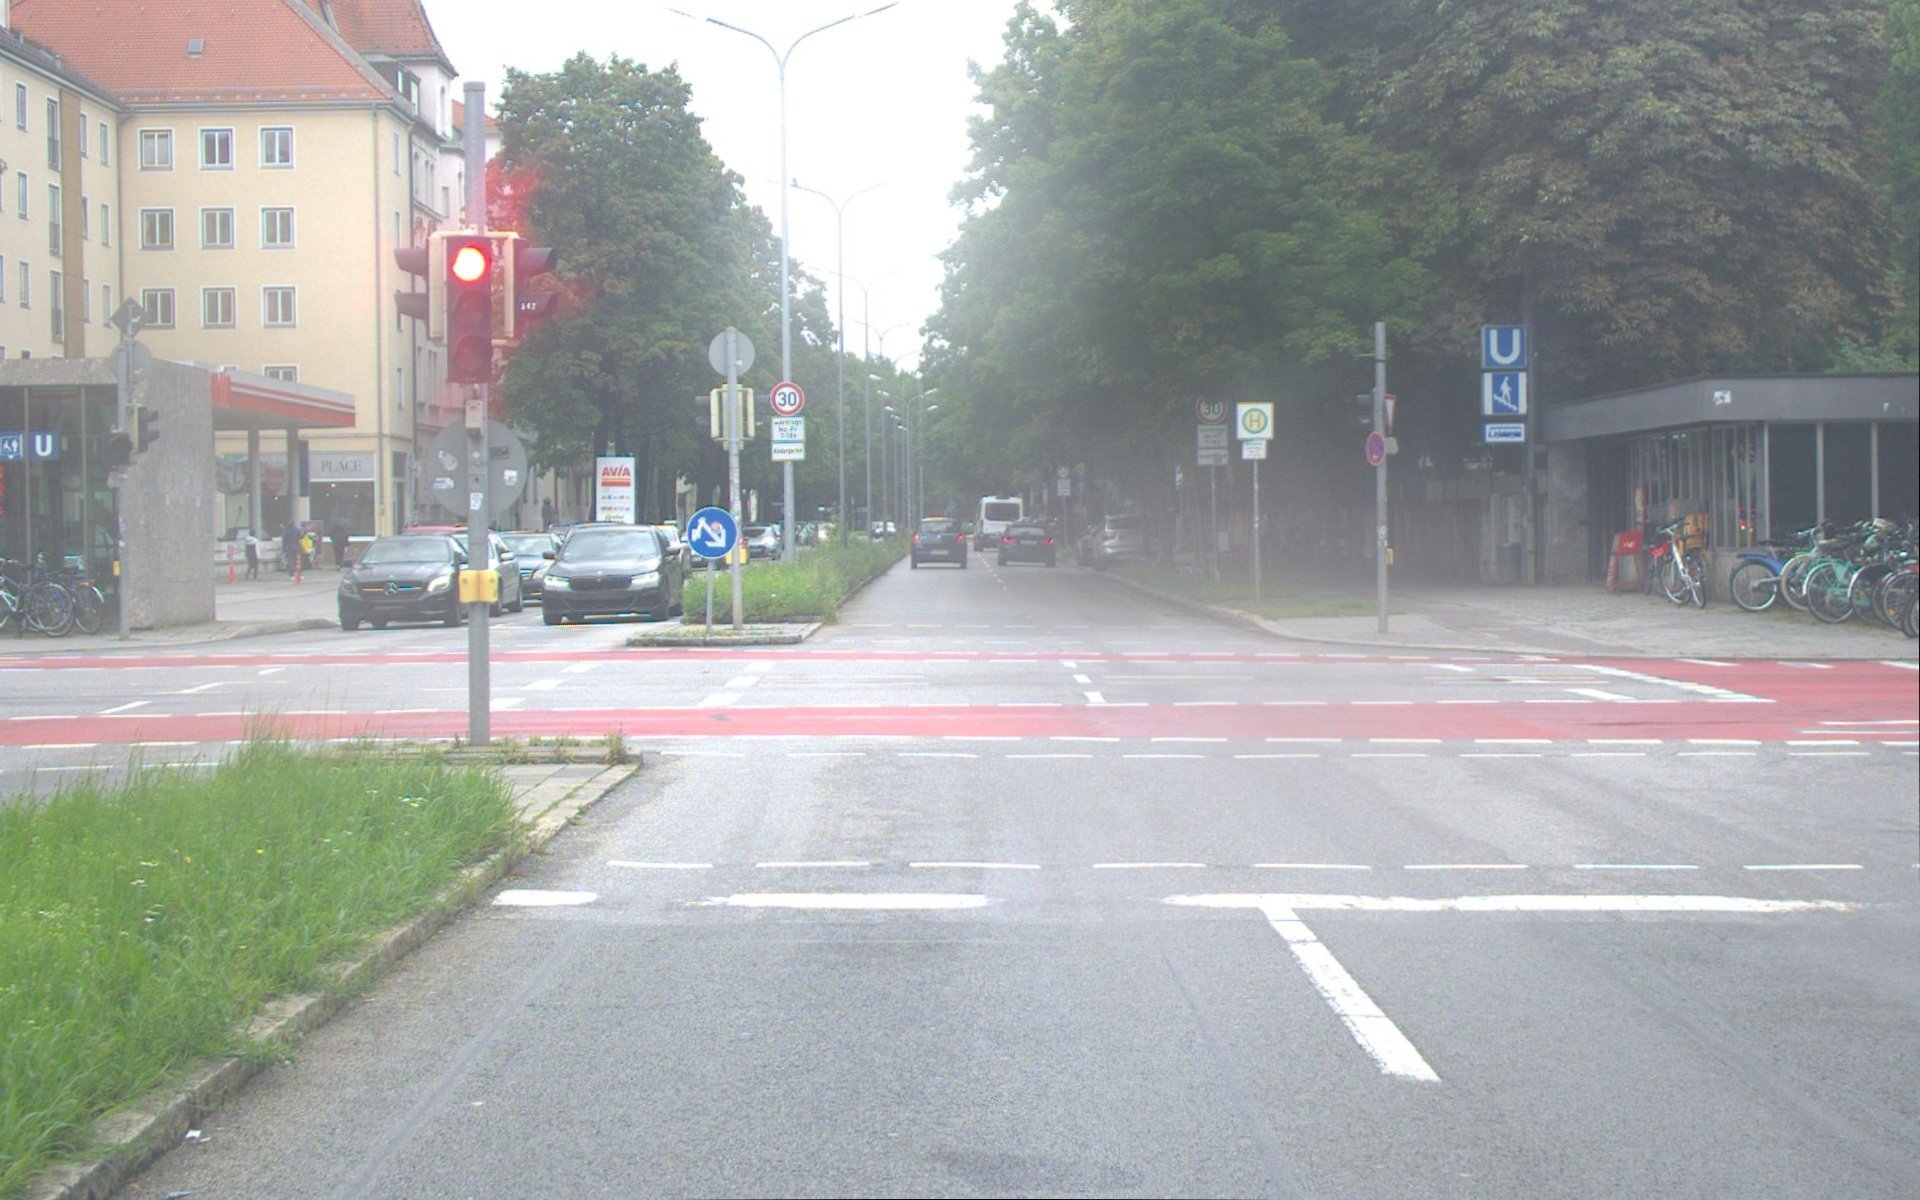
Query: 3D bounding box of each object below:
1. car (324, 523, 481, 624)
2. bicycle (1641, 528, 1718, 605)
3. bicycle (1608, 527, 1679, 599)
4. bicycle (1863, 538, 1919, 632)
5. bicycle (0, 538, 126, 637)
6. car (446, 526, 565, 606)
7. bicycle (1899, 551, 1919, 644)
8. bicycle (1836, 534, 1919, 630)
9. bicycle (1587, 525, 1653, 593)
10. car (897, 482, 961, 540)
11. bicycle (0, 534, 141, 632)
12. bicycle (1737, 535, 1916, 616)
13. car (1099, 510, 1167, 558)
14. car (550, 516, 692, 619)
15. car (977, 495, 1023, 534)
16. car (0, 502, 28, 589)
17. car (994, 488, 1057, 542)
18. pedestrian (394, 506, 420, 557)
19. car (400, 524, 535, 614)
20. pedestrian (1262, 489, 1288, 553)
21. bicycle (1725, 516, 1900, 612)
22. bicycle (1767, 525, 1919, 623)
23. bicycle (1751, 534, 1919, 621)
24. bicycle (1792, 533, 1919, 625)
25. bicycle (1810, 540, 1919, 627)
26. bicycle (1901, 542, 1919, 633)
[{"bbox_3d":[-8.475,-0.435,52.572,1.760,1.455,4.000,-1,2,0],"label":"car"},{"bbox_3d":[9.811,-0.470,46.937,0.556,1.011,2.016,-1,2,-2],"label":"bicycle"},{"bbox_3d":[9.859,-0.546,49.669,0.556,1.011,2.016,-1,2,-2],"label":"bicycle"},{"bbox_3d":[11.451,-0.180,39.272,2.144,1.067,0.603,0,1,8],"label":"bicycle"},{"bbox_3d":[-12.402,-0.172,46.020,2.271,1.300,0.704,-1,1,1],"label":"bicycle"},{"bbox_3d":[-8.739,-0.681,66.348,1.760,1.455,4.000,-1,2,0],"label":"car"},{"bbox_3d":[11.477,-0.040,37.845,2.144,1.011,0.603,0,1,8],"label":"bicycle"},{"bbox_3d":[11.312,-0.218,39.927,2.144,1.097,0.603,0,1,8],"label":"bicycle"},{"bbox_3d":[10.173,-0.644,53.042,0.556,1.011,2.016,-1,2,-2],"label":"bicycle"},{"bbox_3d":[-0.912,-2.673,102.977,1.857,1.678,4.000,-1,2,0],"label":"car"},{"bbox_3d":[-12.379,-0.234,46.798,2.285,1.300,0.694,-1,1,1],"label":"bicycle"},{"bbox_3d":[11.001,-0.310,43.694,2.144,1.011,0.603,0,1,8],"label":"bicycle"},{"bbox_3d":[5.031,-1.952,100.430,1.743,1.358,3.807,-1,2,0],"label":"car"},{"bbox_3d":[-5.102,-0.523,52.175,1.760,1.488,4.000,-1,2,0],"label":"car"},{"bbox_3d":[1.814,-3.910,157.795,1.993,1.750,4.000,-1,2,-1],"label":"car"},{"bbox_3d":[-22.039,-1.155,73.061,3.986,1.831,1.881,-1,1,-2],"label":"car"},{"bbox_3d":[2.082,-2.709,110.233,1.923,1.678,4.000,1,1,0],"label":"car"},{"bbox_3d":[-17.822,-2.224,110.778,0.696,1.632,0.738,-1,1,0],"label":"pedestrian"},{"bbox_3d":[-8.473,-0.563,59.381,1.760,1.455,4.000,-1,2,0],"label":"car"},{"bbox_3d":[8.272,-2.080,90.247,0.678,1.677,0.682,0,1,6],"label":"pedestrian"},{"bbox_3d":[10.999,-0.469,44.410,2.144,1.214,0.603,0,1,8],"label":"bicycle"},{"bbox_3d":[11.006,-0.321,42.110,2.144,1.174,0.603,0,1,8],"label":"bicycle"},{"bbox_3d":[10.974,-0.276,42.814,2.144,1.058,0.603,0,1,8],"label":"bicycle"},{"bbox_3d":[11.139,-0.257,41.373,2.144,1.082,0.603,0,1,8],"label":"bicycle"},{"bbox_3d":[11.181,-0.205,40.644,2.144,1.011,0.603,0,1,8],"label":"bicycle"},{"bbox_3d":[11.675,-0.150,38.465,2.144,1.011,0.634,0,1,8],"label":"bicycle"}]
